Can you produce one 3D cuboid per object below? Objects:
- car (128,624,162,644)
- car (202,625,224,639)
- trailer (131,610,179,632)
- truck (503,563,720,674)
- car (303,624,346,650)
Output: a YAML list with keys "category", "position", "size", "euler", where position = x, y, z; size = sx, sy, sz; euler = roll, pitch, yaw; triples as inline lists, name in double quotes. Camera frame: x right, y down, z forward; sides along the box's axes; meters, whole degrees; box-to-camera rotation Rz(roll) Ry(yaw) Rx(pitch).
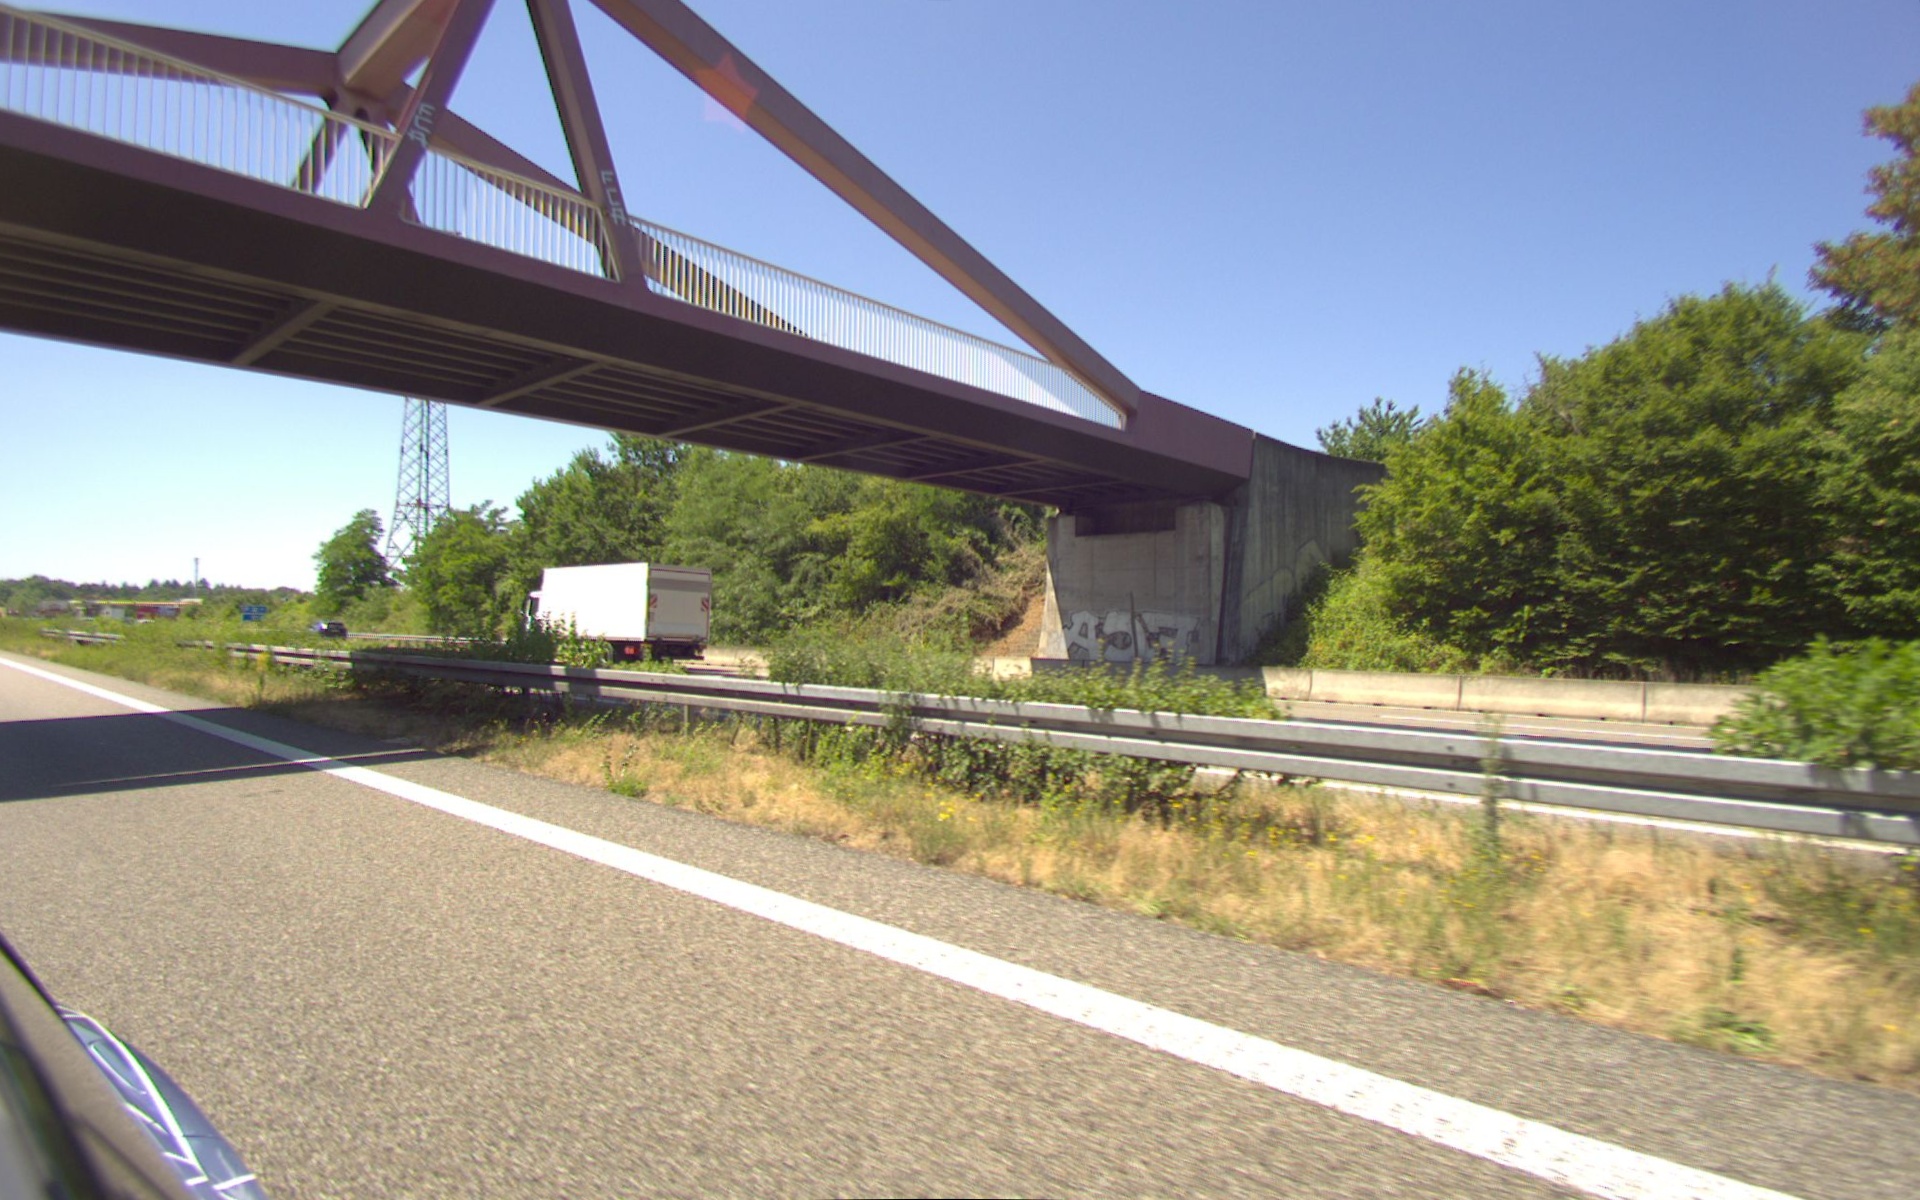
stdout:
- category: "car"
  position: [-77.118, 3.205, 95.761]
  size: [4.255, 1.851, 1.784]
  euler: [-1, 0, 41]
- category: "car"
  position: [-86.444, 3.708, 117.144]
  size: [3.362, 1.625, 1.359]
  euler: [-1, 0, 42]
- category: "trailer"
  position: [-159.007, 4.184, 200.005]
  size: [3.078, 4.086, 11.345]
  euler: [-1, 0, -15]
- category: "truck"
  position: [-12.953, 0.750, 36.920]
  size: [10.184, 3.564, 2.778]
  euler: [-1, -4, 41]
- category: "car"
  position: [-47.409, 2.721, 75.477]
  size: [4.403, 1.781, 1.682]
  euler: [-1, 0, 43]
